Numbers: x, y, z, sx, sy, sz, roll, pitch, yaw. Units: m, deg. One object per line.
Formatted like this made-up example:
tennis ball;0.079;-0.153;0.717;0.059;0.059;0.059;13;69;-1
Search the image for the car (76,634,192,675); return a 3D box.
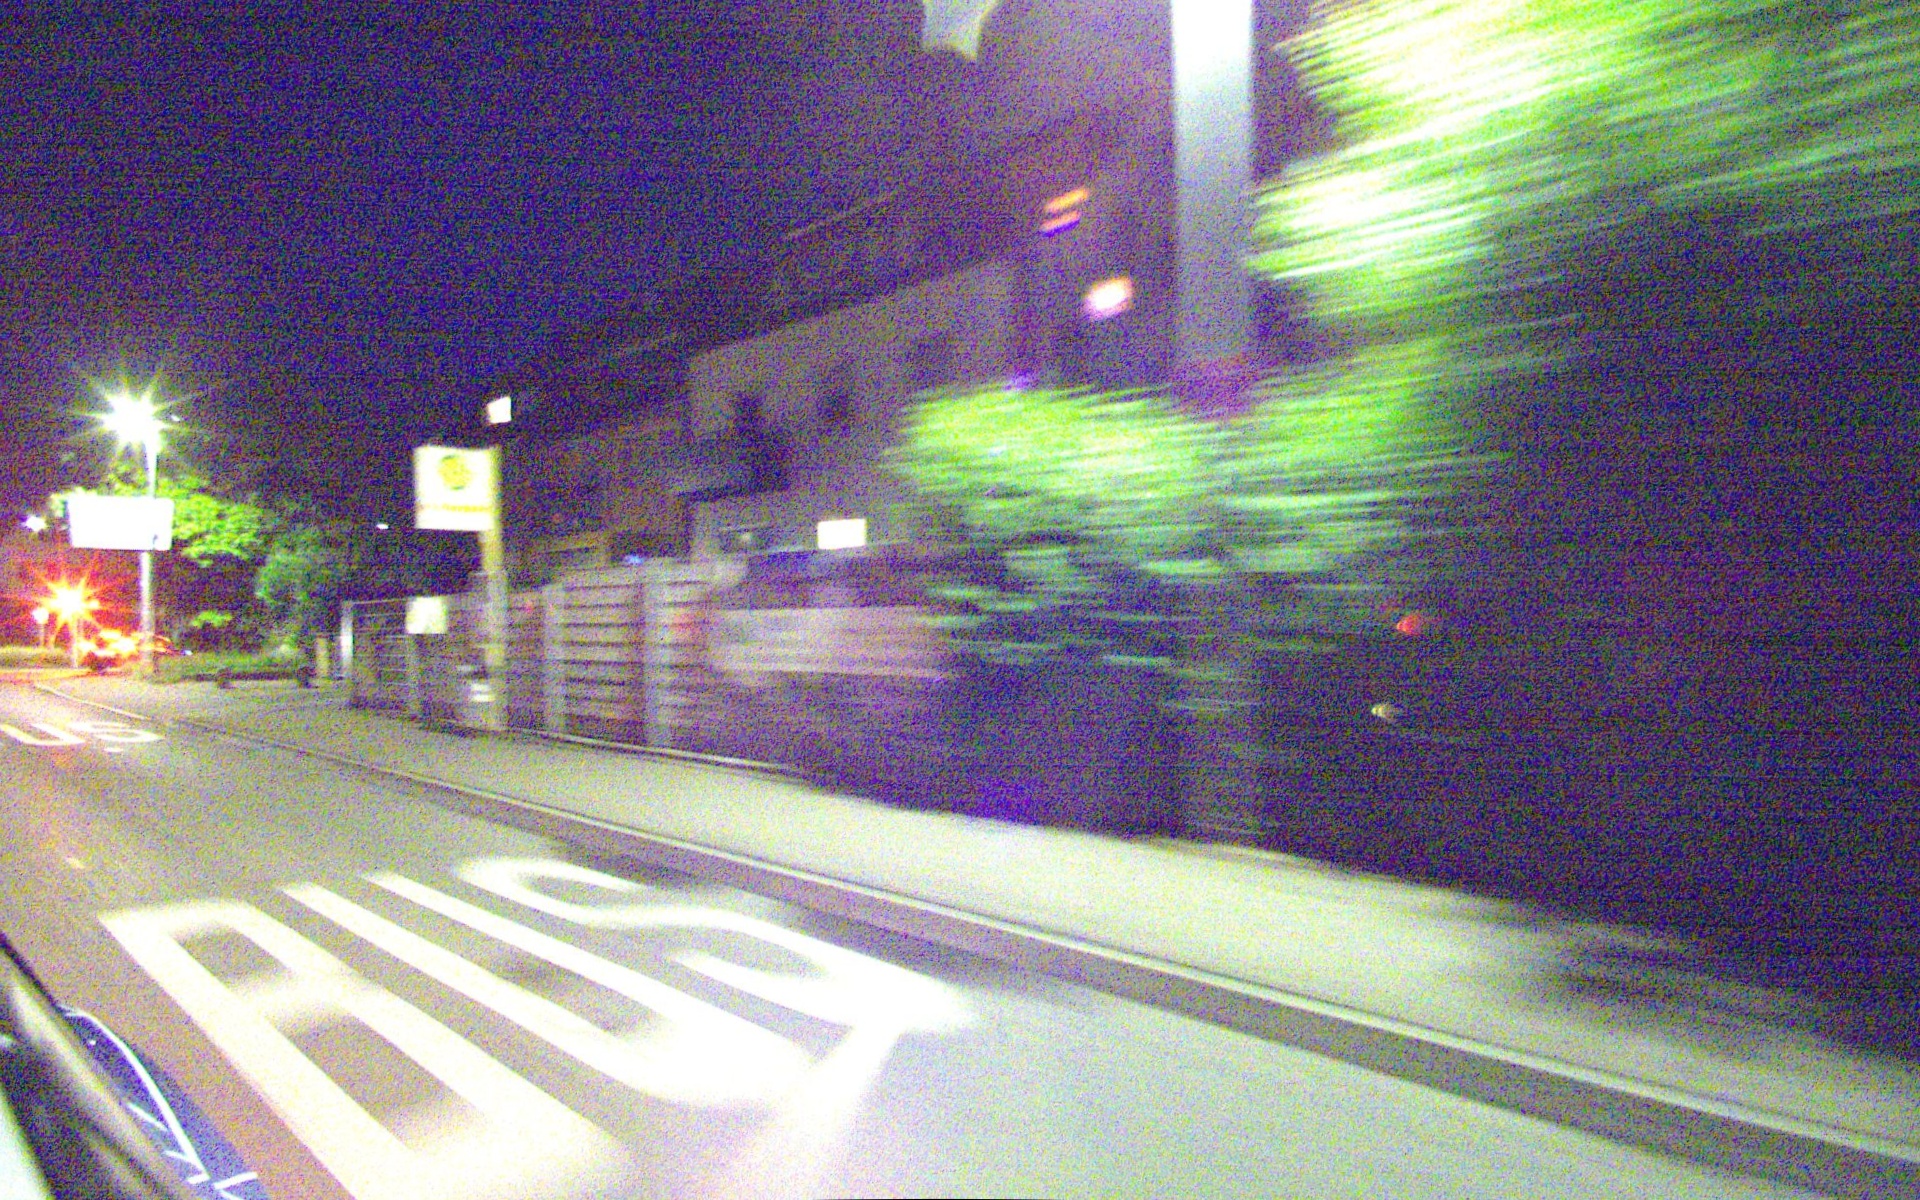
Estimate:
car;-31.667;2.050;38.954;1.703;1.441;4.300;-1;-2;-12
